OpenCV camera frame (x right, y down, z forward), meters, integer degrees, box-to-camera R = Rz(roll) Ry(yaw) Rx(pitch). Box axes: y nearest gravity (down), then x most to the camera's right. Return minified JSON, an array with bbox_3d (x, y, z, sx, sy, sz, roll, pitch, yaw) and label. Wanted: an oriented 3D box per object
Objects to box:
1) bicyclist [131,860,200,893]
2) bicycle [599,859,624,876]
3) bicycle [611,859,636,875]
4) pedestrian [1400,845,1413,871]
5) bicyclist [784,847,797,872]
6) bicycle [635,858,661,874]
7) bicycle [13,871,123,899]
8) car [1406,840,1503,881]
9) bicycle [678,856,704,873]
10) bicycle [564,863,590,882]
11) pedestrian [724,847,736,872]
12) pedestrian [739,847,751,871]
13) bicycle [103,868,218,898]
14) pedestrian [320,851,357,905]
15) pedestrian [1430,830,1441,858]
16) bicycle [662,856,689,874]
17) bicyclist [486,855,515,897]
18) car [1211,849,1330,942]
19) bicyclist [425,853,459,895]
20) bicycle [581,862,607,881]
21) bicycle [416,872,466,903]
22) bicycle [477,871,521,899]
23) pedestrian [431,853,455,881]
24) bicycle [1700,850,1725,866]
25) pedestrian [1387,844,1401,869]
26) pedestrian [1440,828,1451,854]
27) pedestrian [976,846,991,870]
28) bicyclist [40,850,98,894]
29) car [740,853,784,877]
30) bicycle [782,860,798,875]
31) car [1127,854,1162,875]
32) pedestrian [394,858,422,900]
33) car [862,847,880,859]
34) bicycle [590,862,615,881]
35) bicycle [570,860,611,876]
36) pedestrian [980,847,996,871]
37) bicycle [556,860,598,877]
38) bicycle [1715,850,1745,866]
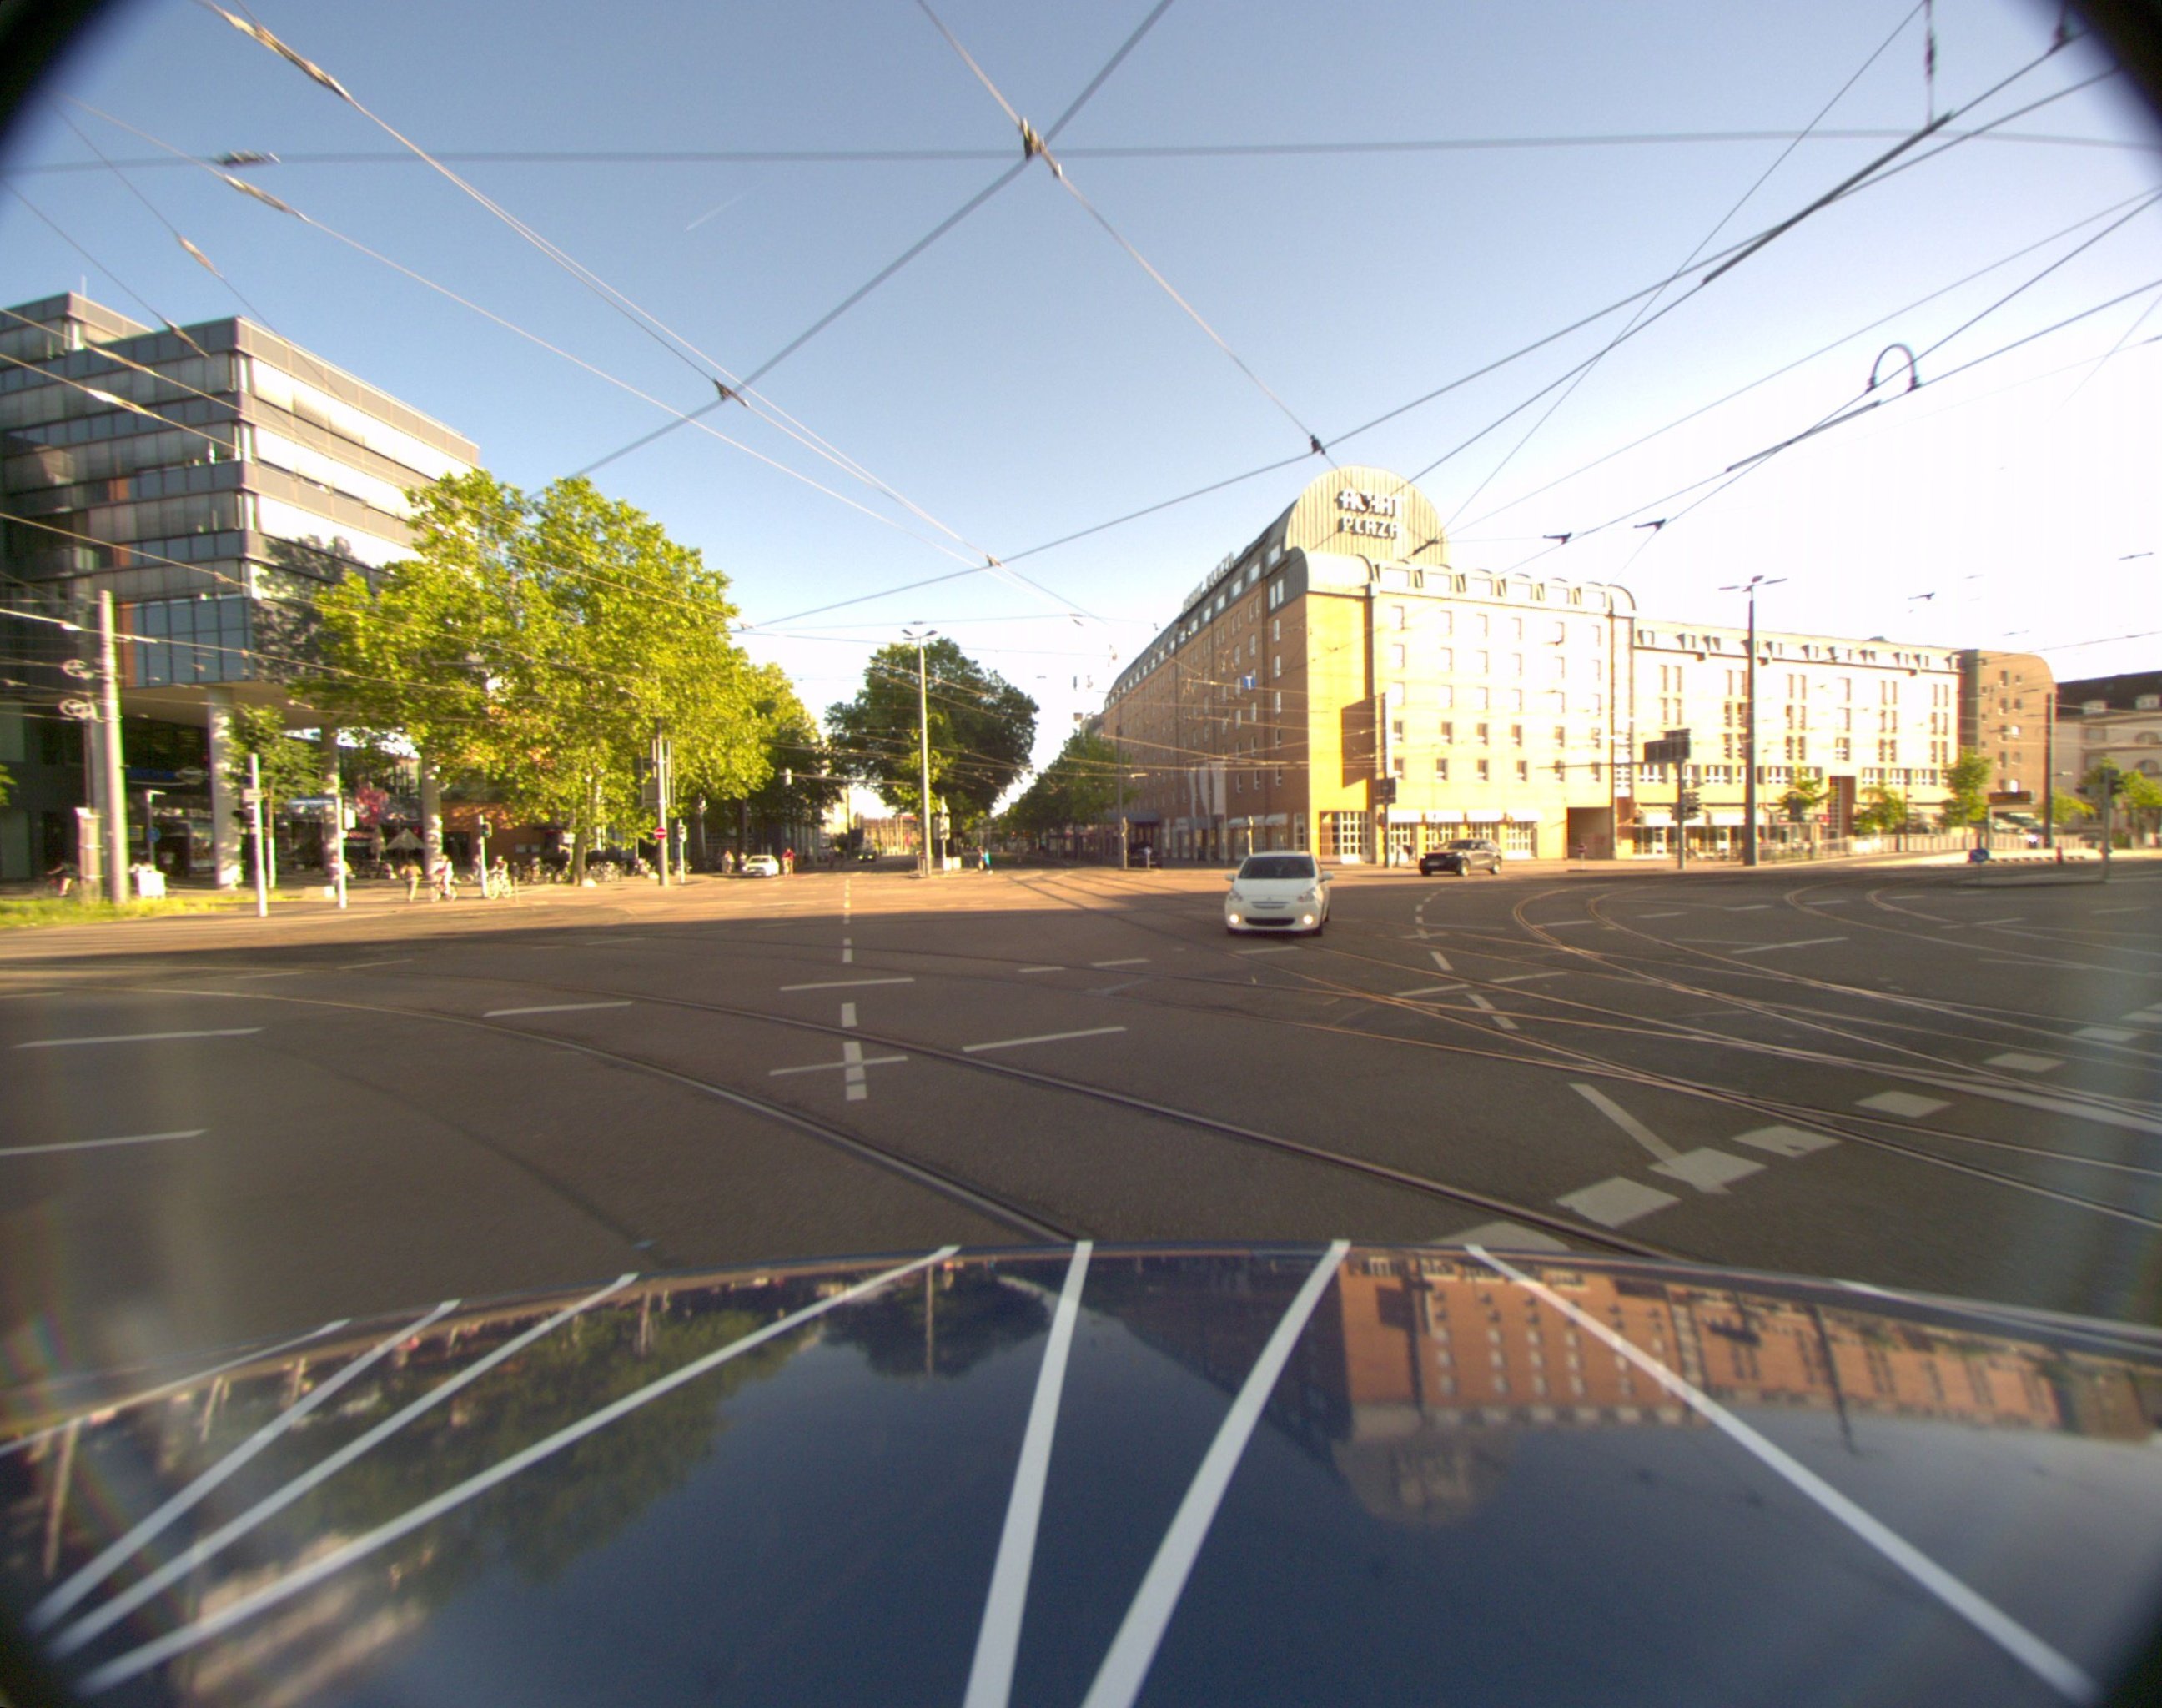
[{"bbox_3d":[-39.773,0.954,33.024,1.564,1.373,1.042,-1,1,-13],"label":"bicyclist"},{"bbox_3d":[-32.735,0.910,52.955,0.879,1.085,2.924,-2,2,-44],"label":"bicycle"},{"bbox_3d":[-32.601,0.898,54.123,0.879,1.085,2.924,-2,2,-44],"label":"bicycle"},{"bbox_3d":[22.091,0.269,51.577,0.574,1.757,0.694,-1,1,-9],"label":"pedestrian"},{"bbox_3d":[-18.742,0.342,49.005,0.638,1.606,0.927,-2,1,-13],"label":"bicyclist"},{"bbox_3d":[-31.294,0.852,54.883,0.879,1.085,2.924,-2,2,-44],"label":"bicycle"},{"bbox_3d":[-44.603,1.357,33.487,3.052,1.107,0.834,-1,1,-13],"label":"bicycle"},{"bbox_3d":[16.787,0.256,34.090,4.362,1.652,1.951,-2,0,-34],"label":"car"},{"bbox_3d":[-28.354,0.751,55.196,0.879,1.228,2.924,-2,2,-44],"label":"bicycle"},{"bbox_3d":[-28.435,1.025,42.926,0.390,0.980,1.709,-1,1,-3],"label":"bicycle"},{"bbox_3d":[-25.267,0.385,54.725,0.643,1.766,0.616,-2,2,-17],"label":"pedestrian"},{"bbox_3d":[-24.352,0.354,55.074,0.643,1.766,0.616,-2,2,-17],"label":"pedestrian"},{"bbox_3d":[-39.900,1.241,32.987,3.181,1.126,1.042,-1,1,-13],"label":"bicycle"},{"bbox_3d":[-25.701,0.837,26.317,0.514,1.826,0.703,-2,1,18],"label":"pedestrian"},{"bbox_3d":[24.021,-0.679,51.514,0.496,1.823,0.734,2,4,38],"label":"pedestrian"},{"bbox_3d":[-29.085,0.777,54.452,0.879,1.228,2.924,-2,2,-44],"label":"bicycle"},{"bbox_3d":[-24.153,0.891,31.629,0.570,1.685,0.744,-2,2,-6],"label":"bicyclist"},{"bbox_3d":[3.780,0.670,14.631,1.637,1.458,4.192,-1,1,22],"label":"car"},{"bbox_3d":[-23.420,0.729,27.860,0.570,1.494,0.744,-2,2,-5],"label":"bicyclist"},{"bbox_3d":[-27.524,0.993,42.978,0.390,0.980,1.709,-1,1,-3],"label":"bicycle"},{"bbox_3d":[-23.430,1.215,27.848,0.516,1.015,1.631,-2,2,-5],"label":"bicycle"},{"bbox_3d":[-24.138,1.256,31.541,0.516,1.015,1.857,-2,2,-6],"label":"bicycle"},{"bbox_3d":[-35.700,0.725,42.524,0.563,1.518,0.778,-1,2,2],"label":"pedestrian"},{"bbox_3d":[49.291,0.294,59.343,0.552,1.142,1.775,-2,3,4],"label":"bicycle"},{"bbox_3d":[21.763,0.175,52.764,0.603,1.717,0.603,-2,1,-19],"label":"pedestrian"},{"bbox_3d":[25.003,-0.888,52.139,0.578,1.765,0.405,0,4,19],"label":"pedestrian"},{"bbox_3d":[-6.348,0.283,49.576,0.743,1.530,0.650,-2,1,-25],"label":"pedestrian"},{"bbox_3d":[-44.611,0.777,33.505,1.231,1.920,0.834,-1,1,-13],"label":"bicyclist"},{"bbox_3d":[-21.256,0.701,50.753,2.001,1.477,3.996,-2,0,-13],"label":"car"},{"bbox_3d":[-18.722,0.835,48.941,0.652,0.905,1.857,-1,1,-13],"label":"bicycle"},{"bbox_3d":[4.760,0.751,57.365,1.797,1.457,4.307,-1,2,-7],"label":"car"},{"bbox_3d":[-25.875,0.953,29.217,0.489,1.573,0.658,-1,1,-13],"label":"pedestrian"},{"bbox_3d":[-29.859,-0.153,108.272,1.901,1.526,3.996,-2,2,-8],"label":"car"},{"bbox_3d":[-27.037,0.976,42.991,0.390,0.980,1.709,-1,1,-3],"label":"bicycle"},{"bbox_3d":[-33.367,0.933,51.641,2.925,1.085,0.879,0,1,24],"label":"bicycle"},{"bbox_3d":[-5.988,0.315,48.898,0.743,1.530,0.676,-2,1,-25],"label":"pedestrian"},{"bbox_3d":[-33.642,0.943,50.730,2.925,1.085,0.879,0,1,24],"label":"bicycle"},{"bbox_3d":[50.556,0.328,59.247,0.553,1.135,1.773,-3,3,-14],"label":"bicycle"}]
